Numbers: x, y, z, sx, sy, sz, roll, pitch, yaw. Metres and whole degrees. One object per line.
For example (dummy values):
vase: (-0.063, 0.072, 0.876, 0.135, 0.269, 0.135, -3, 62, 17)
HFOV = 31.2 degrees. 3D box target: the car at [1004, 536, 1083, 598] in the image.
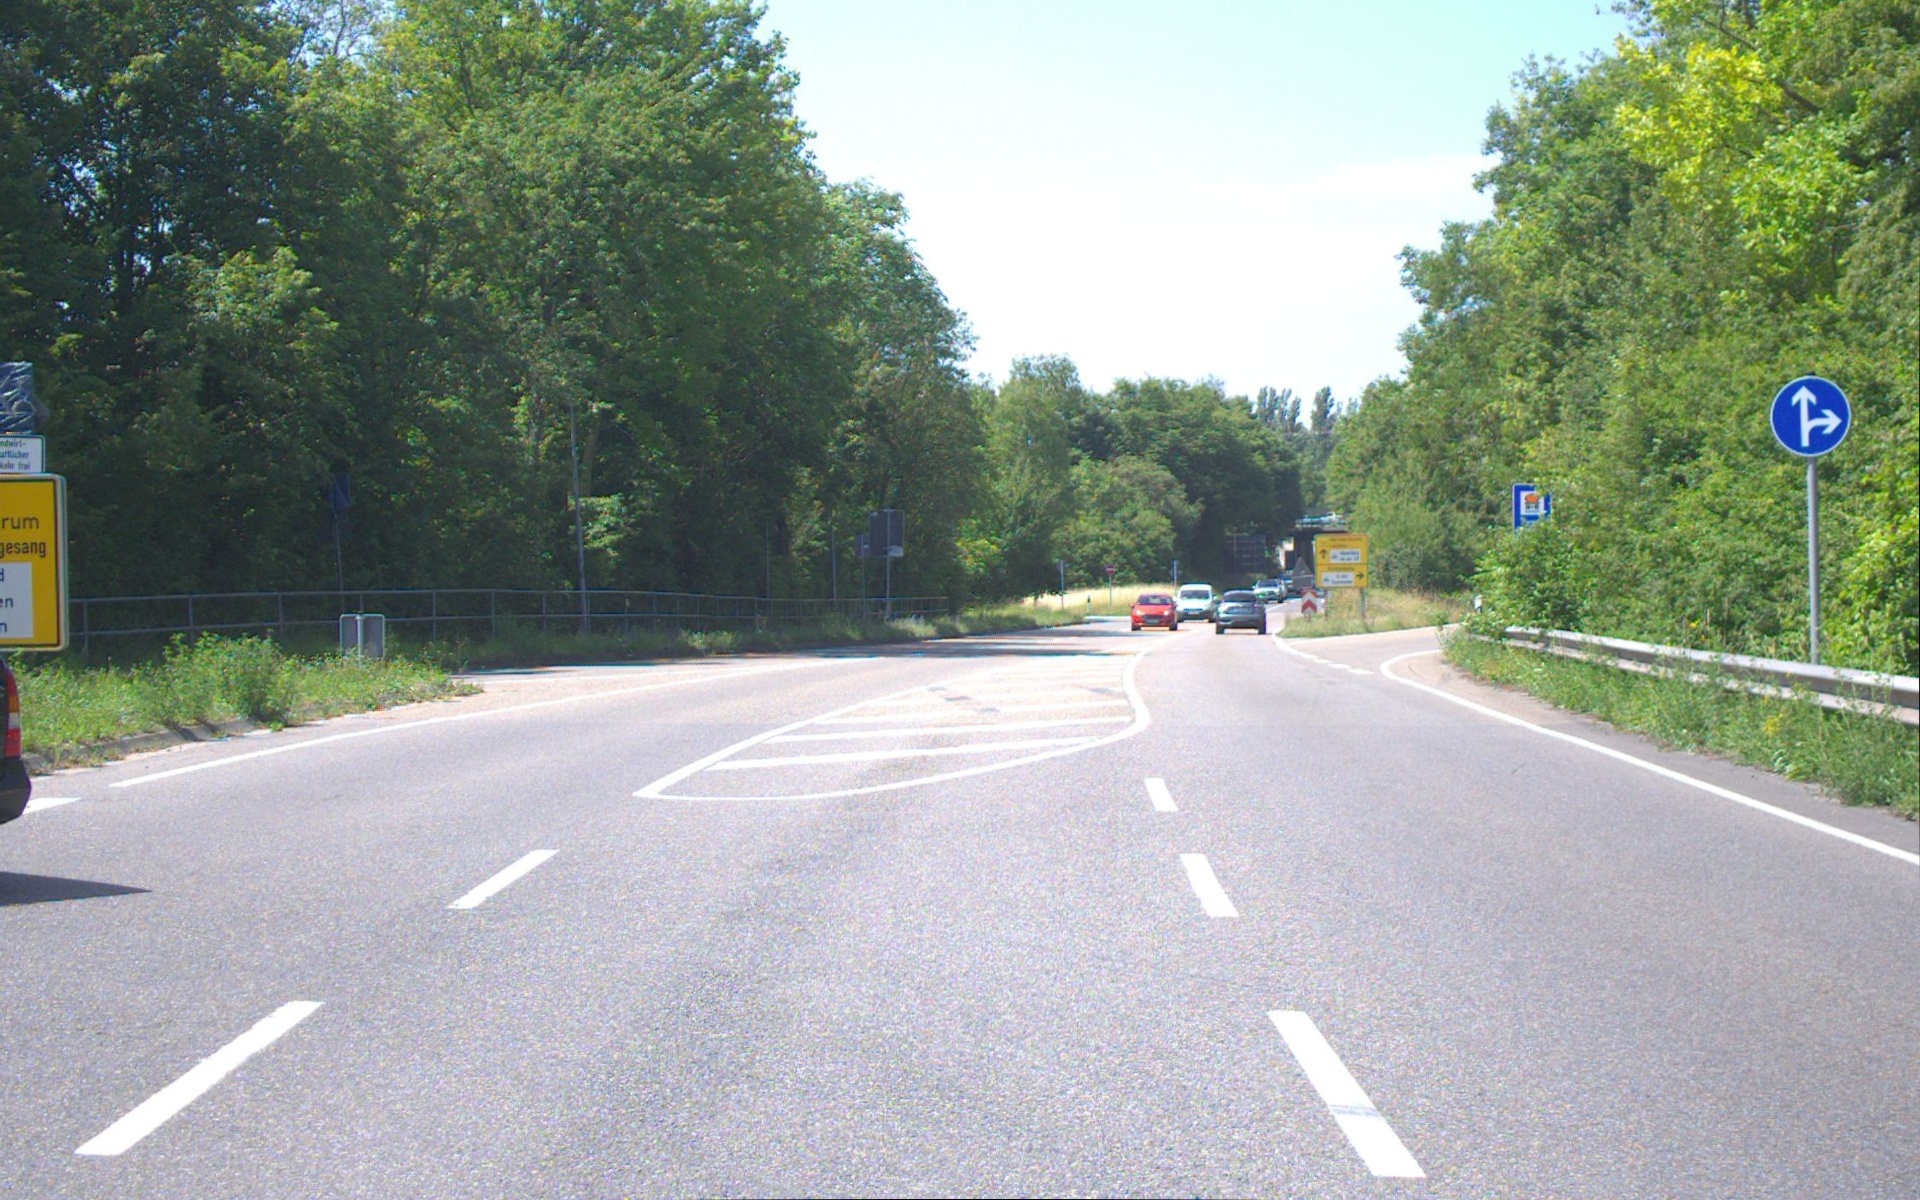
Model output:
car: (4.359, -1.722, 180.306, 1.993, 3.215, 4.809, -1, 1, -28)

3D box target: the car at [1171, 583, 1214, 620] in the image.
car: (11.076, 0.057, 163.949, 1.994, 1.724, 4.274, 0, 1, 4)

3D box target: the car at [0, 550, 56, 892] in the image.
car: (-5.881, 0.509, 15.434, 3.794, 1.452, 1.722, 0, 1, 42)

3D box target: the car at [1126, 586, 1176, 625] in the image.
car: (7.538, 0.203, 135.459, 1.810, 1.453, 3.757, 0, 1, 6)

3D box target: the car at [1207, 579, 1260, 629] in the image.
car: (9.823, 0.127, 123.767, 1.843, 1.679, 4.000, 0, 1, 4)
